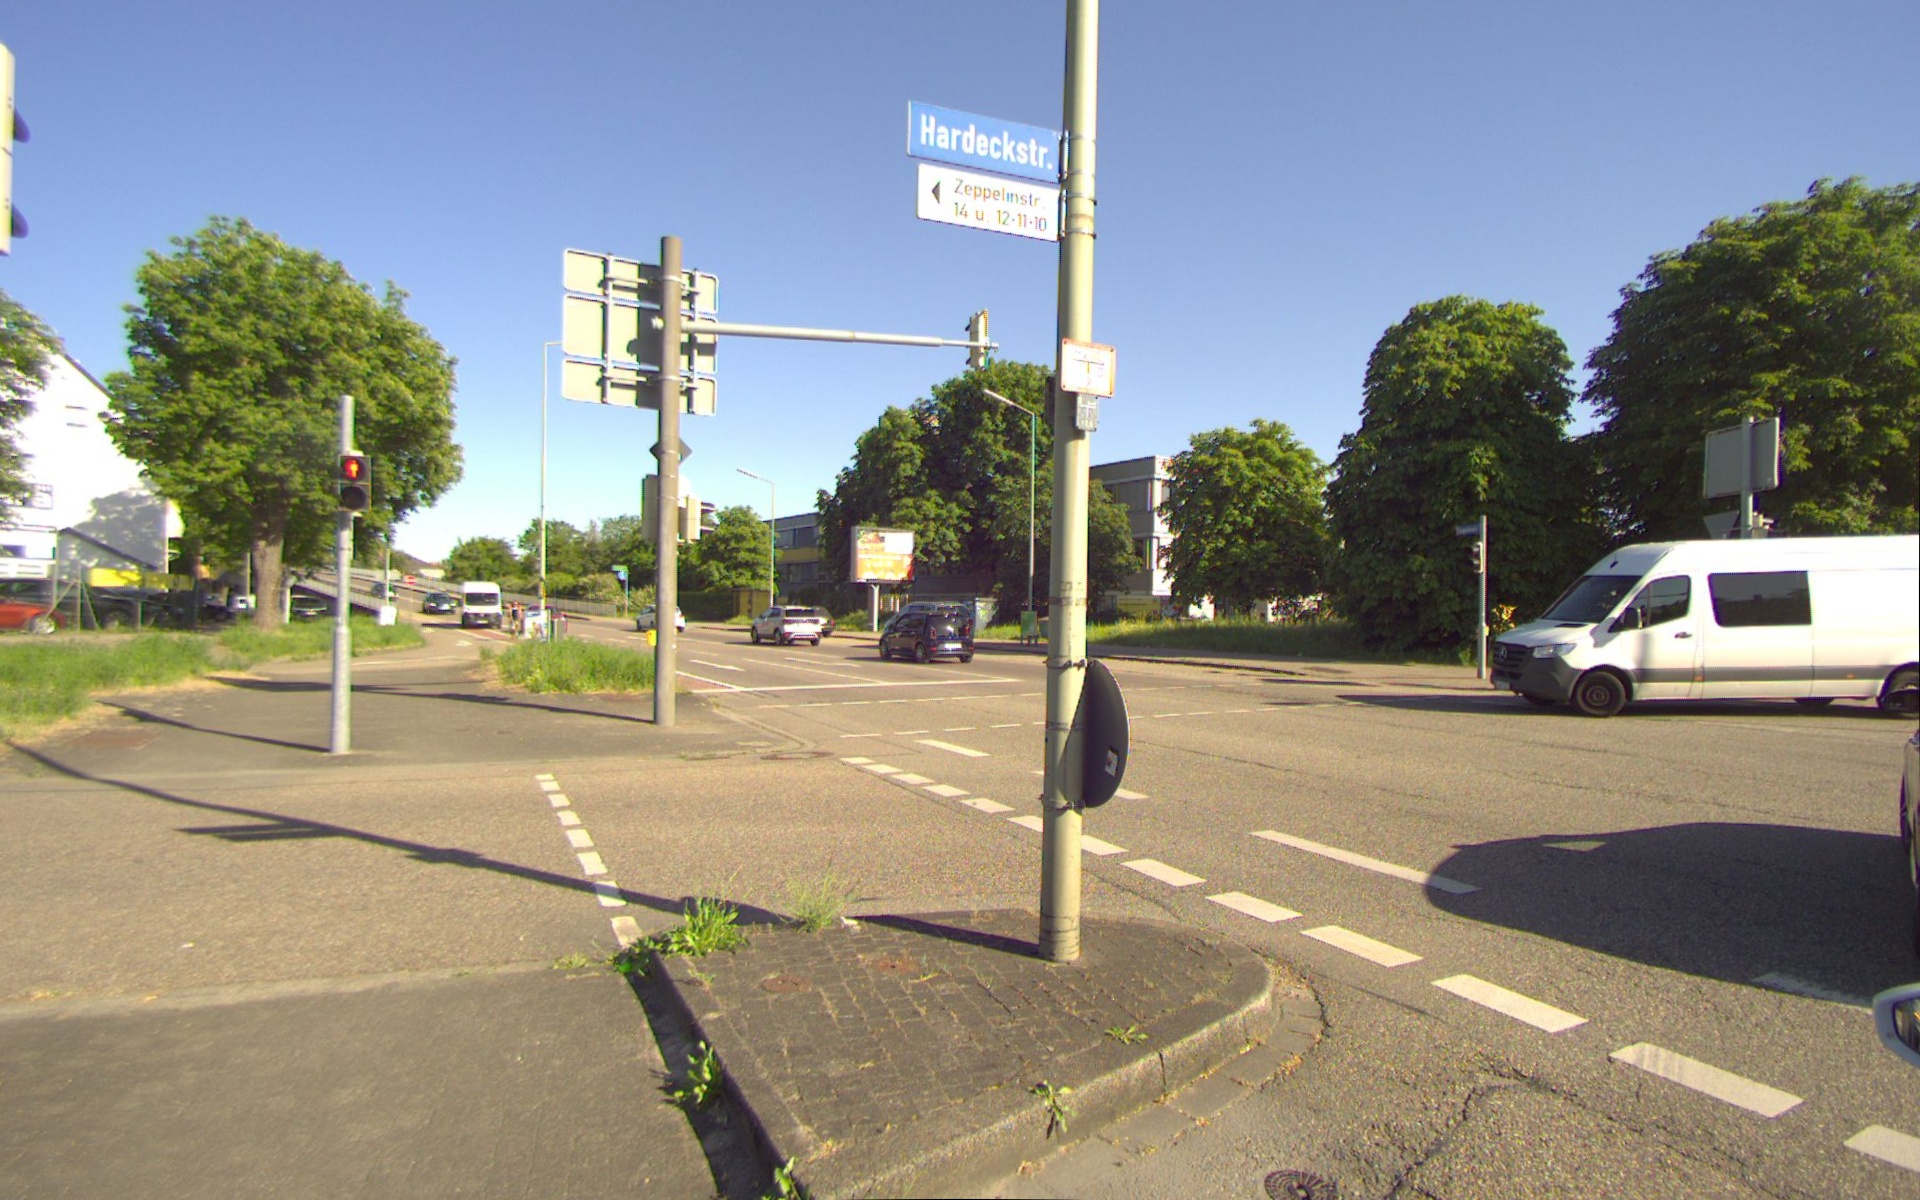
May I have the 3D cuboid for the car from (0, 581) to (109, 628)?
[{"bbox_3d":[-28.207,0.108,28.979,2.315,1.327,5.058,2,0,22],"label":"car"}]

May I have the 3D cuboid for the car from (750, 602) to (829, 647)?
[{"bbox_3d":[-6.917,0.942,40.386,1.975,1.702,3.970,0,0,-29],"label":"car"}]

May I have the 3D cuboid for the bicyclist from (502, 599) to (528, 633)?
[{"bbox_3d":[-19.241,0.695,43.414,0.925,1.420,0.816,2,0,-30],"label":"bicyclist"}]

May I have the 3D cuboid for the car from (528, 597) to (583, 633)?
[{"bbox_3d":[-21.094,0.762,52.302,1.839,1.759,4.231,1,0,-33],"label":"car"}]

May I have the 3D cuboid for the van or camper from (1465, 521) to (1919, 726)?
[{"bbox_3d":[11.894,0.355,15.516,6.938,2.775,2.234,2,0,3],"label":"van or camper"}]

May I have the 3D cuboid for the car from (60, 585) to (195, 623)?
[{"bbox_3d":[-37.513,0.195,45.369,1.783,1.596,4.396,2,0,34],"label":"car"}]

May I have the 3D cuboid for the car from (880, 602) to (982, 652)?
[{"bbox_3d":[-1.172,0.967,38.053,1.857,1.745,4.574,-1,0,-31],"label":"car"}]

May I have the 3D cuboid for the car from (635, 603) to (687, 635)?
[{"bbox_3d":[-16.258,1.006,54.521,1.860,1.564,3.970,2,0,-29],"label":"car"}]

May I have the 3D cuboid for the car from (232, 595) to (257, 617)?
[{"bbox_3d":[-70.311,0.572,98.703,1.912,2.017,4.212,2,0,-36],"label":"car"}]

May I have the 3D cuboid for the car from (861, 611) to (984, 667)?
[{"bbox_3d":[-1.192,1.076,29.631,1.902,1.508,4.235,0,0,-30],"label":"car"}]

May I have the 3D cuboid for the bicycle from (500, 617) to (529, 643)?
[{"bbox_3d":[-19.259,1.277,43.420,0.929,1.030,2.179,2,0,-29],"label":"bicycle"}]

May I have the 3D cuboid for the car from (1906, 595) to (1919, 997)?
[{"bbox_3d":[5.846,0.824,4.804,3.962,1.614,1.752,1,-1,-44],"label":"car"}]

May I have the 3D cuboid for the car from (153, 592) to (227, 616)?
[{"bbox_3d":[-53.557,0.303,69.933,1.750,1.530,3.668,2,0,24],"label":"car"}]

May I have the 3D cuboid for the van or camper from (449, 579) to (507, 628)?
[{"bbox_3d":[-27.691,0.207,57.581,2.575,2.617,6.559,0,0,-30],"label":"van or camper"}]
